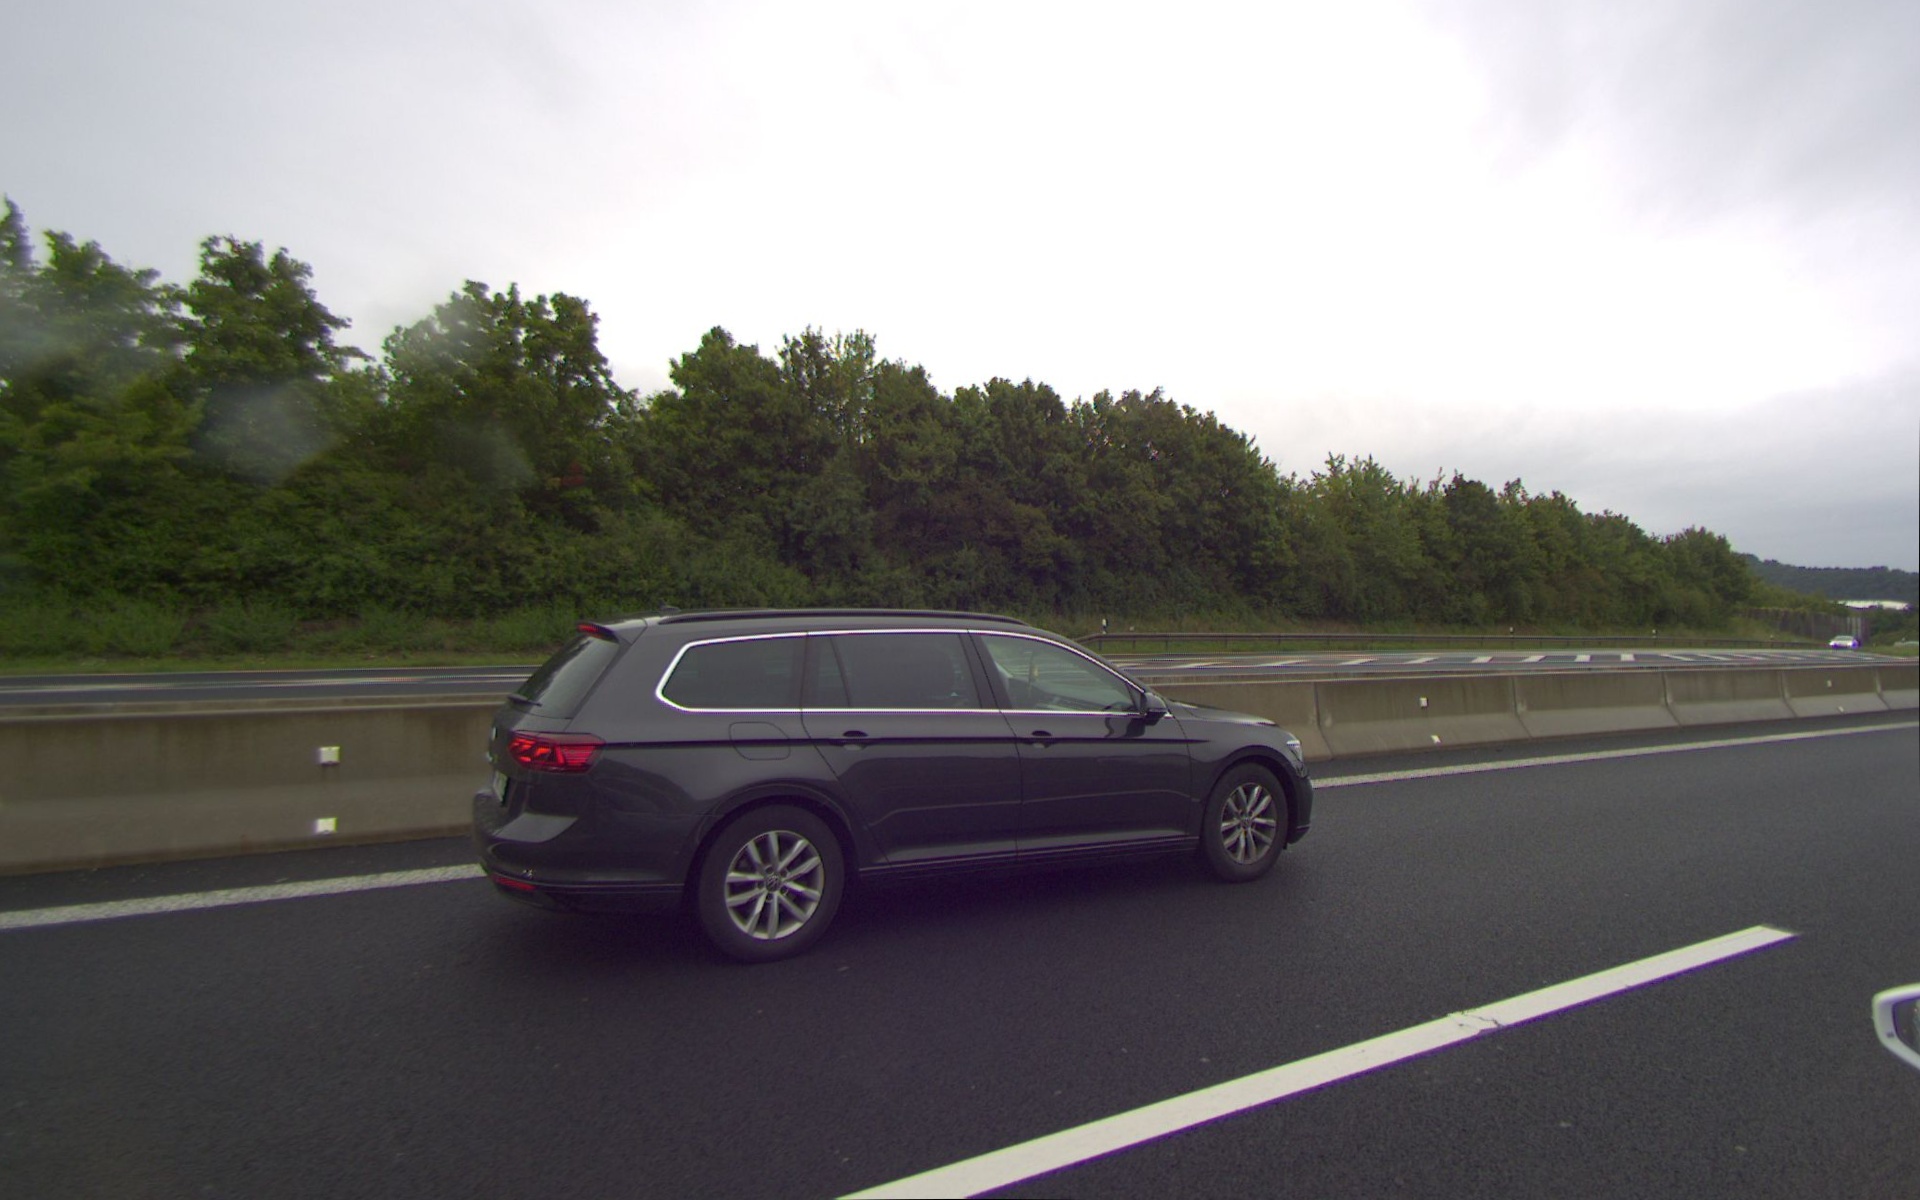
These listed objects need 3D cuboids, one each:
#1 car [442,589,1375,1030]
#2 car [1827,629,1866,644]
[{"bbox_3d":[-0.097,0.772,5.501,4.794,1.517,1.891,1,-1,-30],"label":"car"},{"bbox_3d":[89.284,3.654,101.149,4.350,1.449,2.163,2,-1,-38],"label":"car"}]
